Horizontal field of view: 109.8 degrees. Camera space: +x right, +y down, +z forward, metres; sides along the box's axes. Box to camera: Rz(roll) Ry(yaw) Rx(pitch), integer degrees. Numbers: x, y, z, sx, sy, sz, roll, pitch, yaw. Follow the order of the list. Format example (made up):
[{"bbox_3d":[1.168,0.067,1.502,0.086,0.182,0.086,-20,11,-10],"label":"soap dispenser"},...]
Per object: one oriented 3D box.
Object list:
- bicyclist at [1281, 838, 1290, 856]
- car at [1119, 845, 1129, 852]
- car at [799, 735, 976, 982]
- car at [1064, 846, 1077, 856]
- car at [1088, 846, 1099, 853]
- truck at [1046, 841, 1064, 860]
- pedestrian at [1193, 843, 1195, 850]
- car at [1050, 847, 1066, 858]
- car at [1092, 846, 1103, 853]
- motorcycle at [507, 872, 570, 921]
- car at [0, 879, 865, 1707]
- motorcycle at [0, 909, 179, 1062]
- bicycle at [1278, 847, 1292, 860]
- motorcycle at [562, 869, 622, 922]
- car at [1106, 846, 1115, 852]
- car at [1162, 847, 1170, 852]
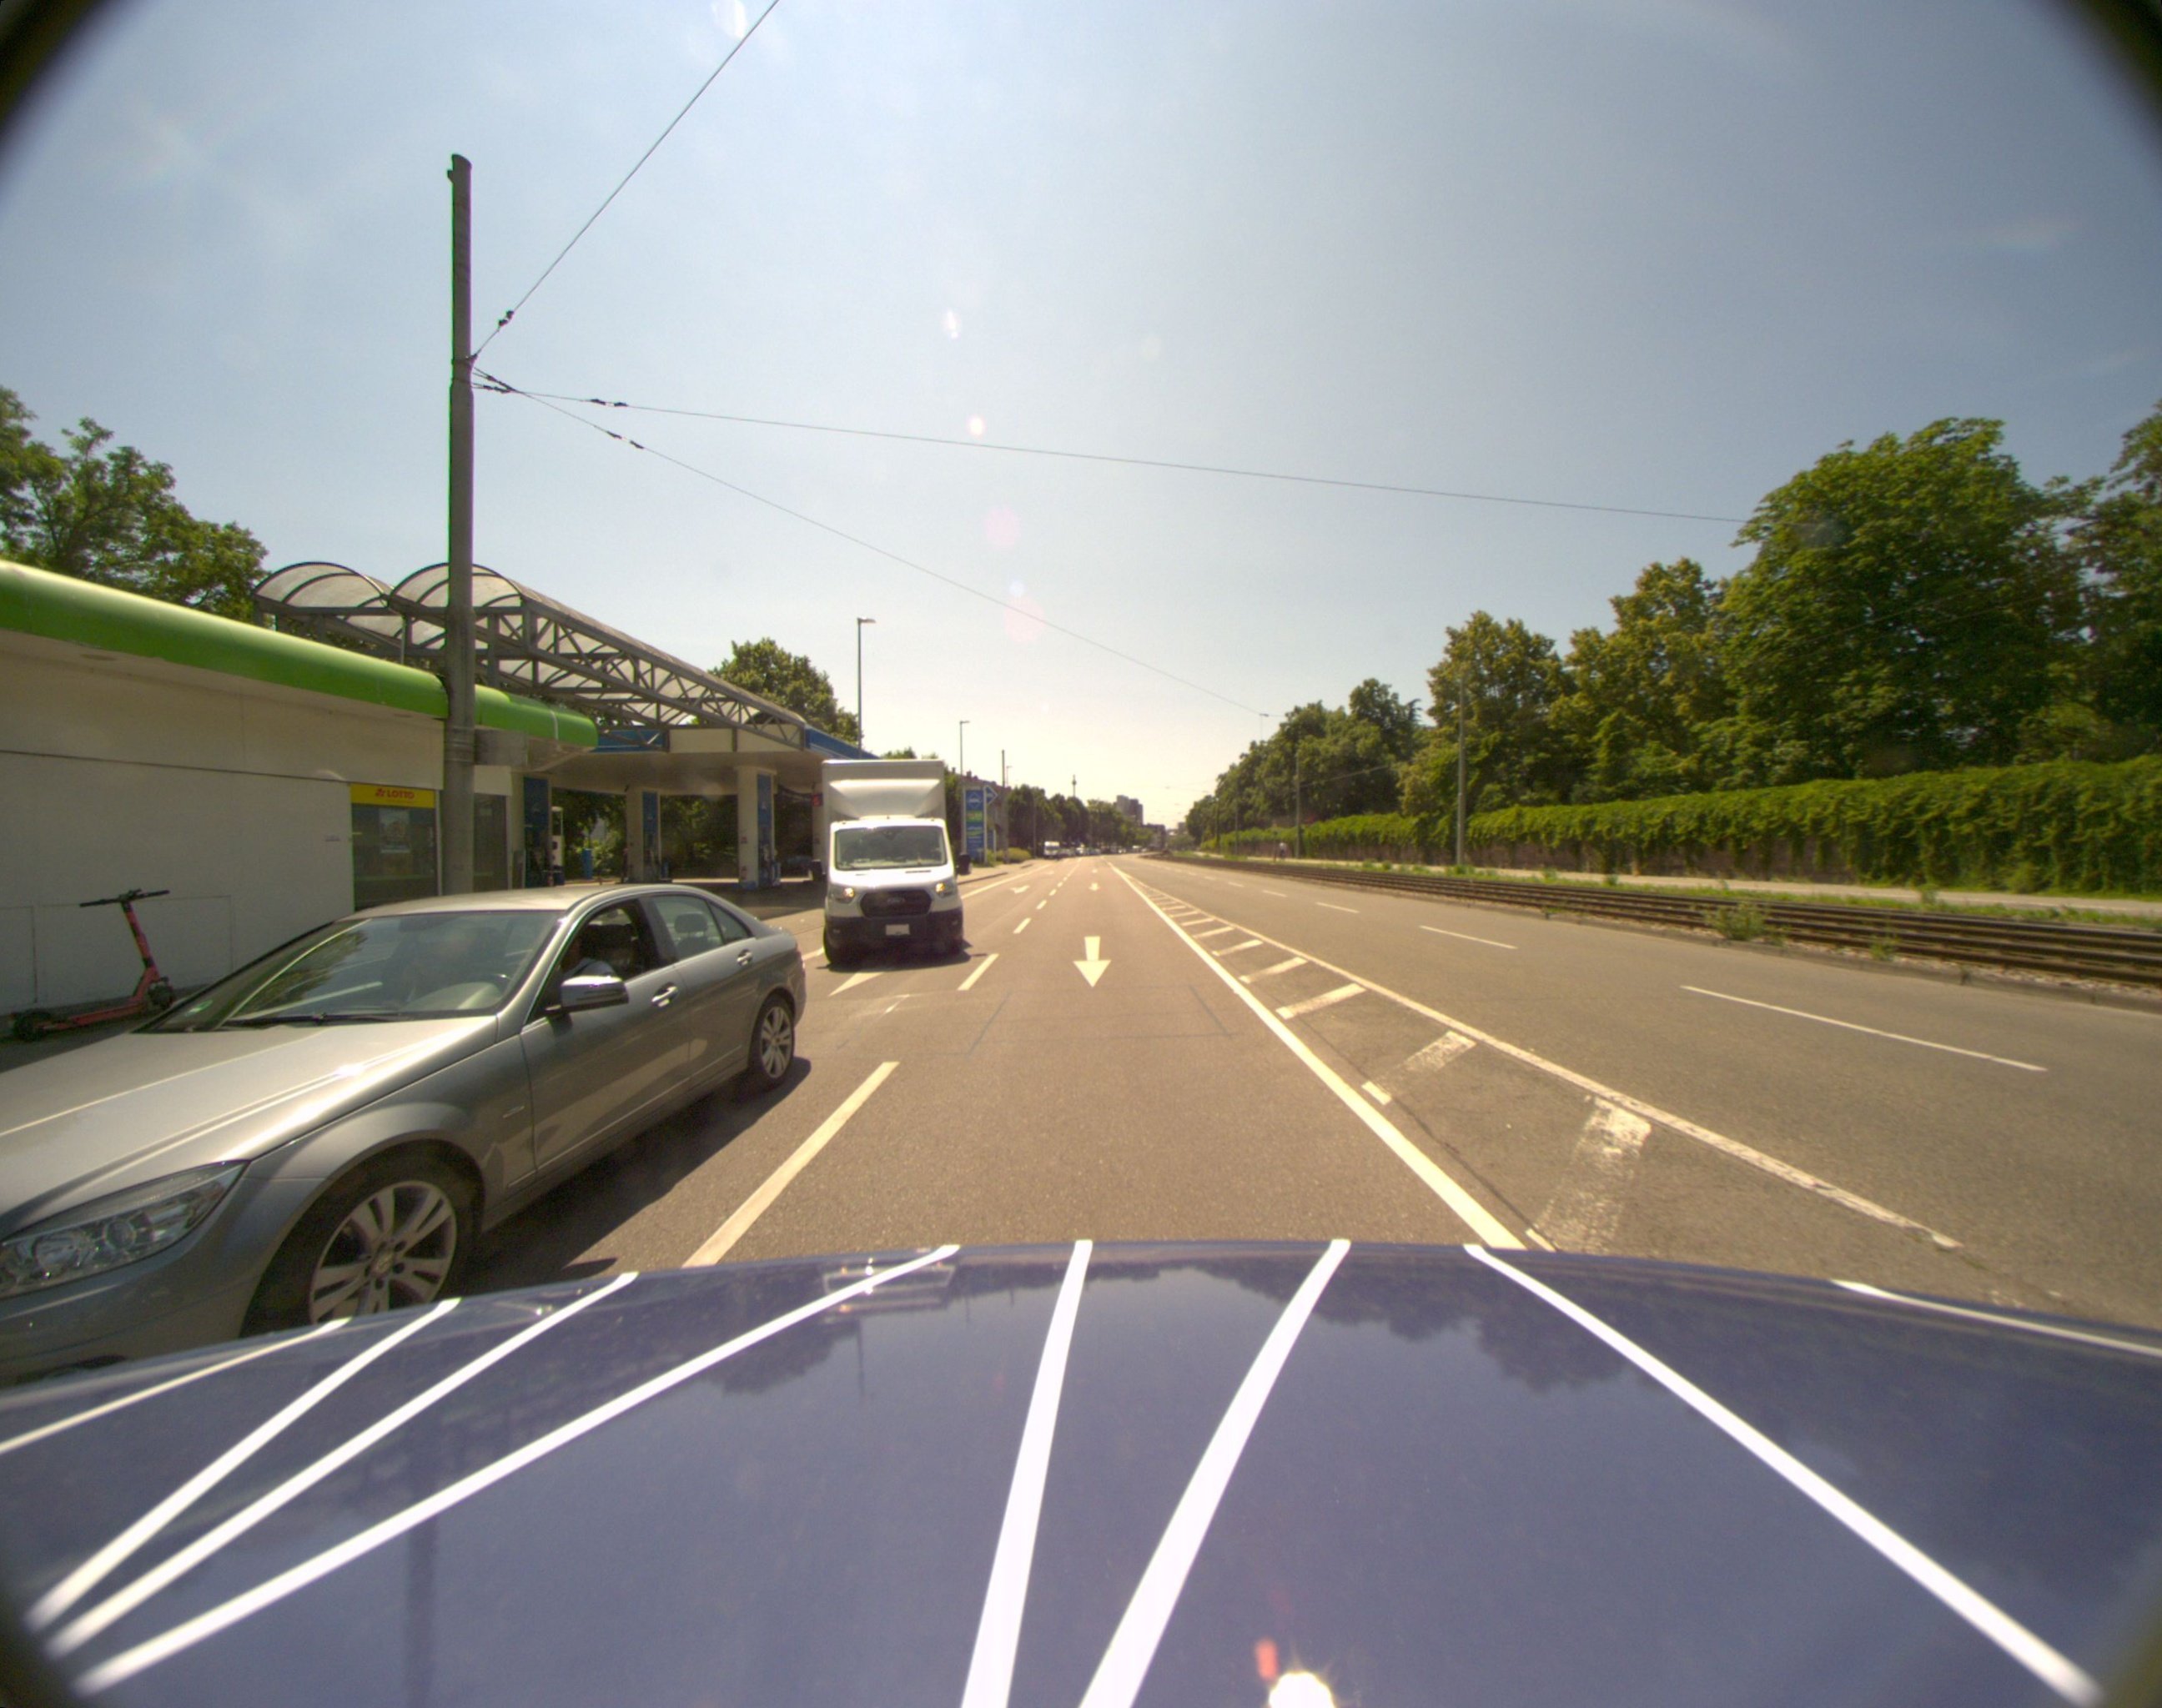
[{"bbox_3d":[18.300,-0.601,68.038,0.483,1.603,0.768,-2,2,-2],"label":"bicyclist"},{"bbox_3d":[10.912,-1.315,193.054,1.946,1.674,4.002,-2,1,9],"label":"car"},{"bbox_3d":[-3.706,0.006,14.650,2.232,3.316,8.624,-2,1,-14],"label":"car"},{"bbox_3d":[-1.826,-0.487,130.058,1.912,1.488,4.000,-2,1,4],"label":"car"},{"bbox_3d":[2.925,-1.028,175.521,1.911,1.488,4.002,-2,1,10],"label":"car"},{"bbox_3d":[-3.556,-0.535,105.032,1.998,2.462,5.236,-2,1,1],"label":"truck"},{"bbox_3d":[28.061,-1.934,188.377,0.453,1.655,0.302,-1,1,0],"label":"pedestrian"},{"bbox_3d":[-3.448,-0.254,112.629,1.912,1.488,4.000,-2,1,4],"label":"car"},{"bbox_3d":[3.979,-1.169,180.747,1.911,1.488,4.002,-2,1,10],"label":"car"},{"bbox_3d":[-12.824,0.994,17.969,1.157,1.107,0.396,1,0,-1],"label":"motorcycle"},{"bbox_3d":[-2.907,1.007,4.166,1.717,1.464,5.302,-3,0,2],"label":"car"},{"bbox_3d":[-8.643,1.086,6.583,0.253,1.099,1.117,5,2,1],"label":"motorcycle"},{"bbox_3d":[18.318,-0.055,68.155,0.618,1.049,1.977,-2,1,-1],"label":"bicycle"},{"bbox_3d":[-11.579,0.980,18.016,1.157,1.203,0.364,1,0,-1],"label":"motorcycle"},{"bbox_3d":[8.077,-1.337,206.833,1.911,1.488,4.002,-2,1,10],"label":"car"},{"bbox_3d":[28.625,-1.557,256.202,1.799,1.488,3.969,-2,0,22],"label":"car"}]
